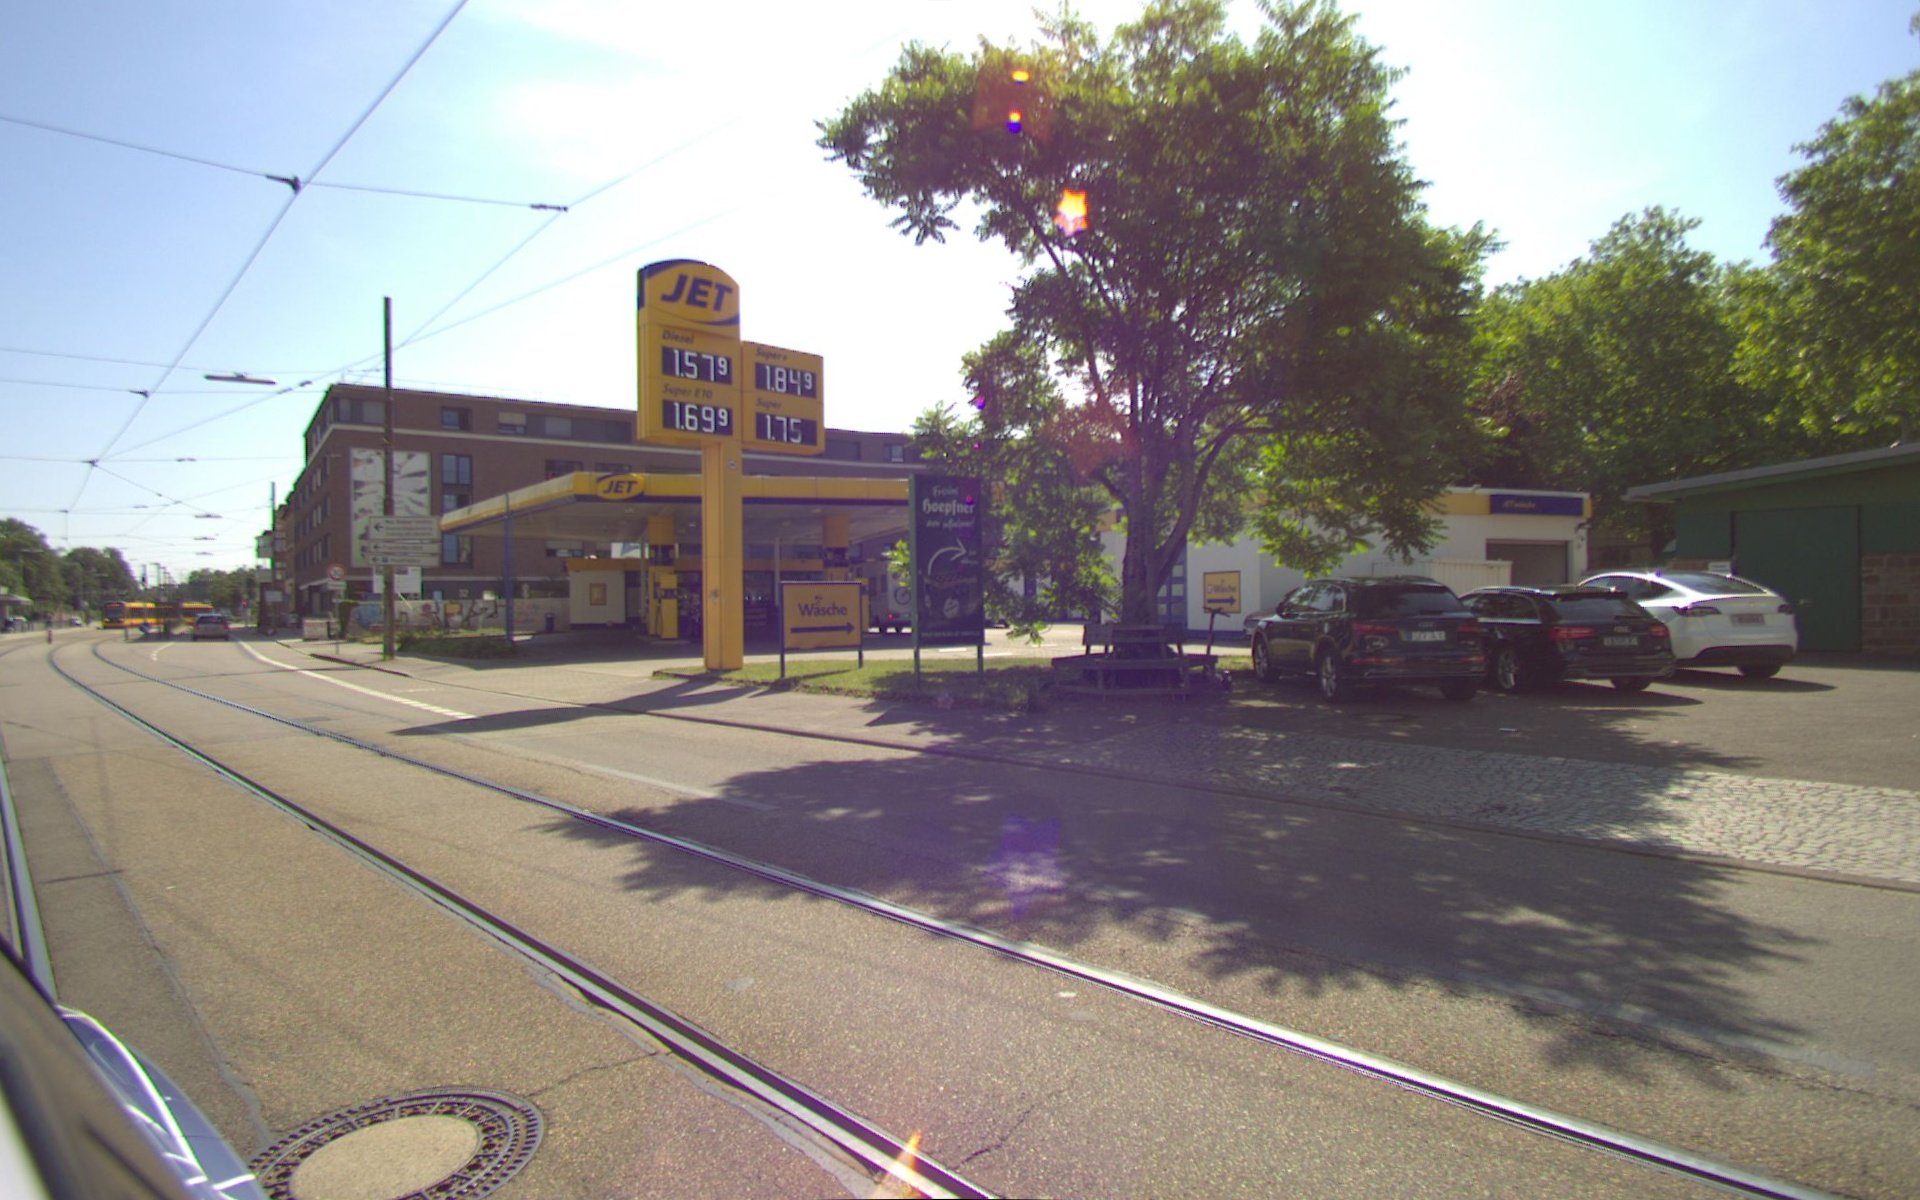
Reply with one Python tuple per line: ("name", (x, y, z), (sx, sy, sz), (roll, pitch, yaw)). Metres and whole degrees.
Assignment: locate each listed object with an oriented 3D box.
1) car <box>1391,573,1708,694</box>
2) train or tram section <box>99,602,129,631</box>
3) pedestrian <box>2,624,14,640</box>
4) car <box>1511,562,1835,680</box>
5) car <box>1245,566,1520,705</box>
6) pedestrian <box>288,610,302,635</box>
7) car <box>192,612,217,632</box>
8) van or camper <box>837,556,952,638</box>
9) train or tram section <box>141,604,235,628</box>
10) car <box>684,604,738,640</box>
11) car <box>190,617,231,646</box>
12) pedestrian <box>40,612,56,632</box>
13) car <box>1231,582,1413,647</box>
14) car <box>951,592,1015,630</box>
("car", (8.334, 0.429, 14.927), (1.922, 1.479, 4.579), (-1, 0, 0))
("train or tram section", (-107.651, 2.139, 128.933), (2.645, 3.507, 13.363), (0, -1, -39))
("pedestrian", (-75.417, 2.542, 80.155), (0.621, 1.264, 0.711), (0, -1, -38))
("car", (11.085, 0.302, 16.251), (1.922, 1.595, 4.578), (-1, 0, 0))
("car", (5.714, 0.434, 14.429), (1.922, 1.637, 4.579), (-1, 0, 0))
("pedestrian", (-49.745, 1.706, 75.670), (0.833, 1.833, 0.840), (-1, -1, -37))
("car", (-72.042, 2.098, 96.544), (1.777, 1.742, 4.198), (-3, 0, -37))
("van or camper", (-2.868, -0.163, 41.934), (2.571, 2.989, 6.735), (-4, 2, -22))
("train or tram section", (-115.680, 2.310, 152.000), (2.656, 3.507, 13.310), (-1, 0, 7))
("car", (-10.473, 0.885, 42.343), (1.673, 1.313, 4.404), (-3, 1, -20))
("car", (-43.838, 1.829, 59.147), (1.724, 1.583, 3.898), (1, -1, -39))
("pedestrian", (-86.492, 2.047, 95.994), (0.968, 1.872, 1.240), (0, -1, -37))
("car", (9.380, 0.331, 26.304), (4.100, 1.538, 1.943), (-1, 0, -19))
("car", (1.140, 0.553, 53.161), (1.748, 1.775, 4.489), (-3, 2, -21))
